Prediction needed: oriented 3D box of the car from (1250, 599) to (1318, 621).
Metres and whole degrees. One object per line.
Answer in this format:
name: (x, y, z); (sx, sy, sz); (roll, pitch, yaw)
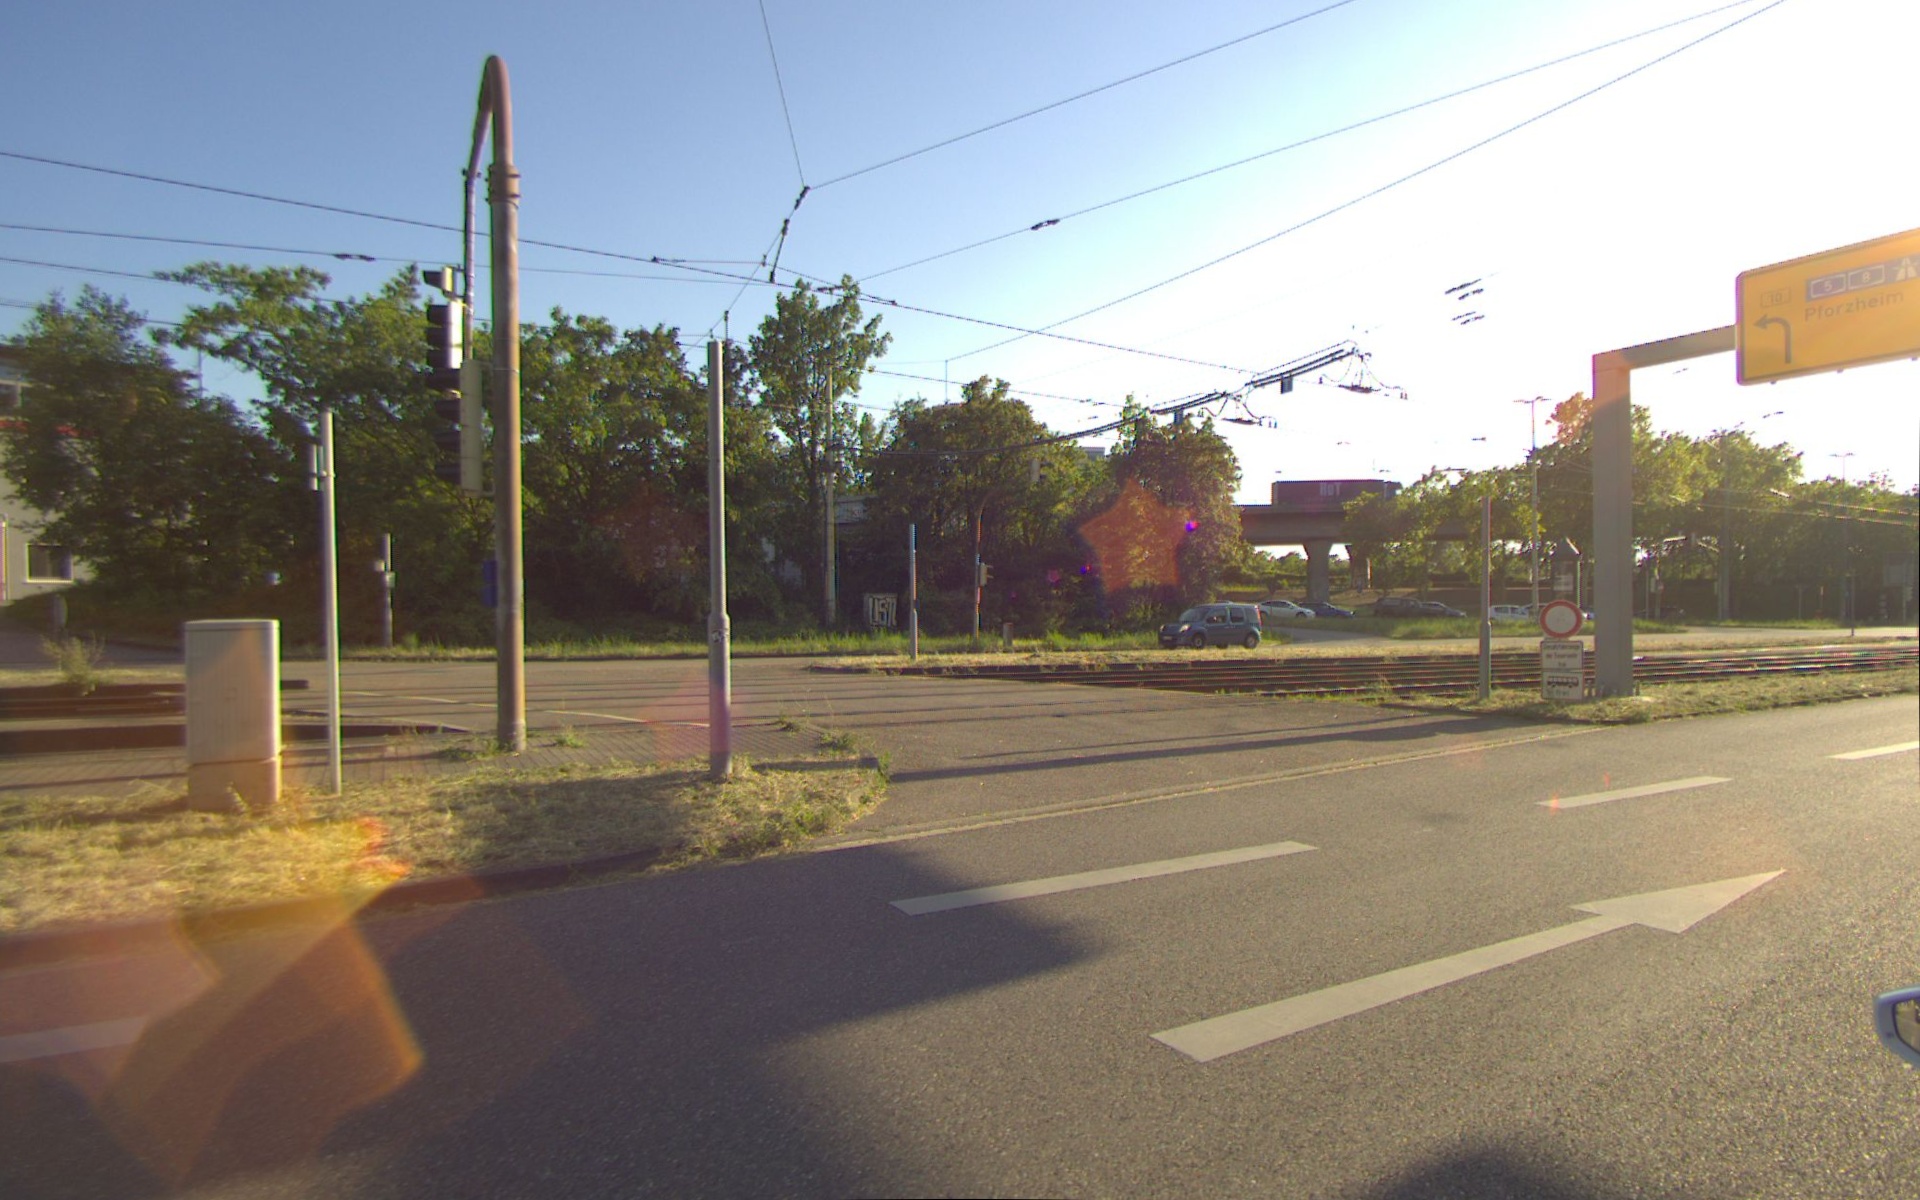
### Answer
car: (24.562, 0.746, 76.131); (4.682, 1.596, 1.690); (0, 0, 30)

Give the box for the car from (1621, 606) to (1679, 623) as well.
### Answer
car: (62.590, 1.308, 91.180); (1.720, 1.525, 3.970); (0, 0, -28)

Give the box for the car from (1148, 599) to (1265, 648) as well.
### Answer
car: (9.486, 0.861, 38.562); (4.206, 1.811, 1.925); (0, 0, -29)

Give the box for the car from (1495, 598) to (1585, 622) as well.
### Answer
car: (40.660, 0.692, 70.489); (5.281, 1.596, 1.734); (1, 1, 37)

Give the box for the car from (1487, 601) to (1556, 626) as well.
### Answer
car: (38.053, 0.865, 68.064); (3.932, 1.596, 1.688); (1, 1, 34)

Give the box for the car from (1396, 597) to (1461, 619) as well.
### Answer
car: (34.692, 0.560, 74.404); (4.176, 1.596, 1.689); (1, 1, 33)

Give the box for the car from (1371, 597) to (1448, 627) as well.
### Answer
car: (32.015, 0.816, 71.610); (4.855, 2.018, 2.033); (1, 1, 30)

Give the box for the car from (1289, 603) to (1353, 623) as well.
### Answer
car: (28.238, 1.000, 78.595); (4.542, 1.478, 1.690); (1, 1, 29)

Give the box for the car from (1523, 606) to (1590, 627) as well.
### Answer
car: (43.315, 1.190, 72.964); (4.124, 1.424, 1.666); (1, 1, 33)
